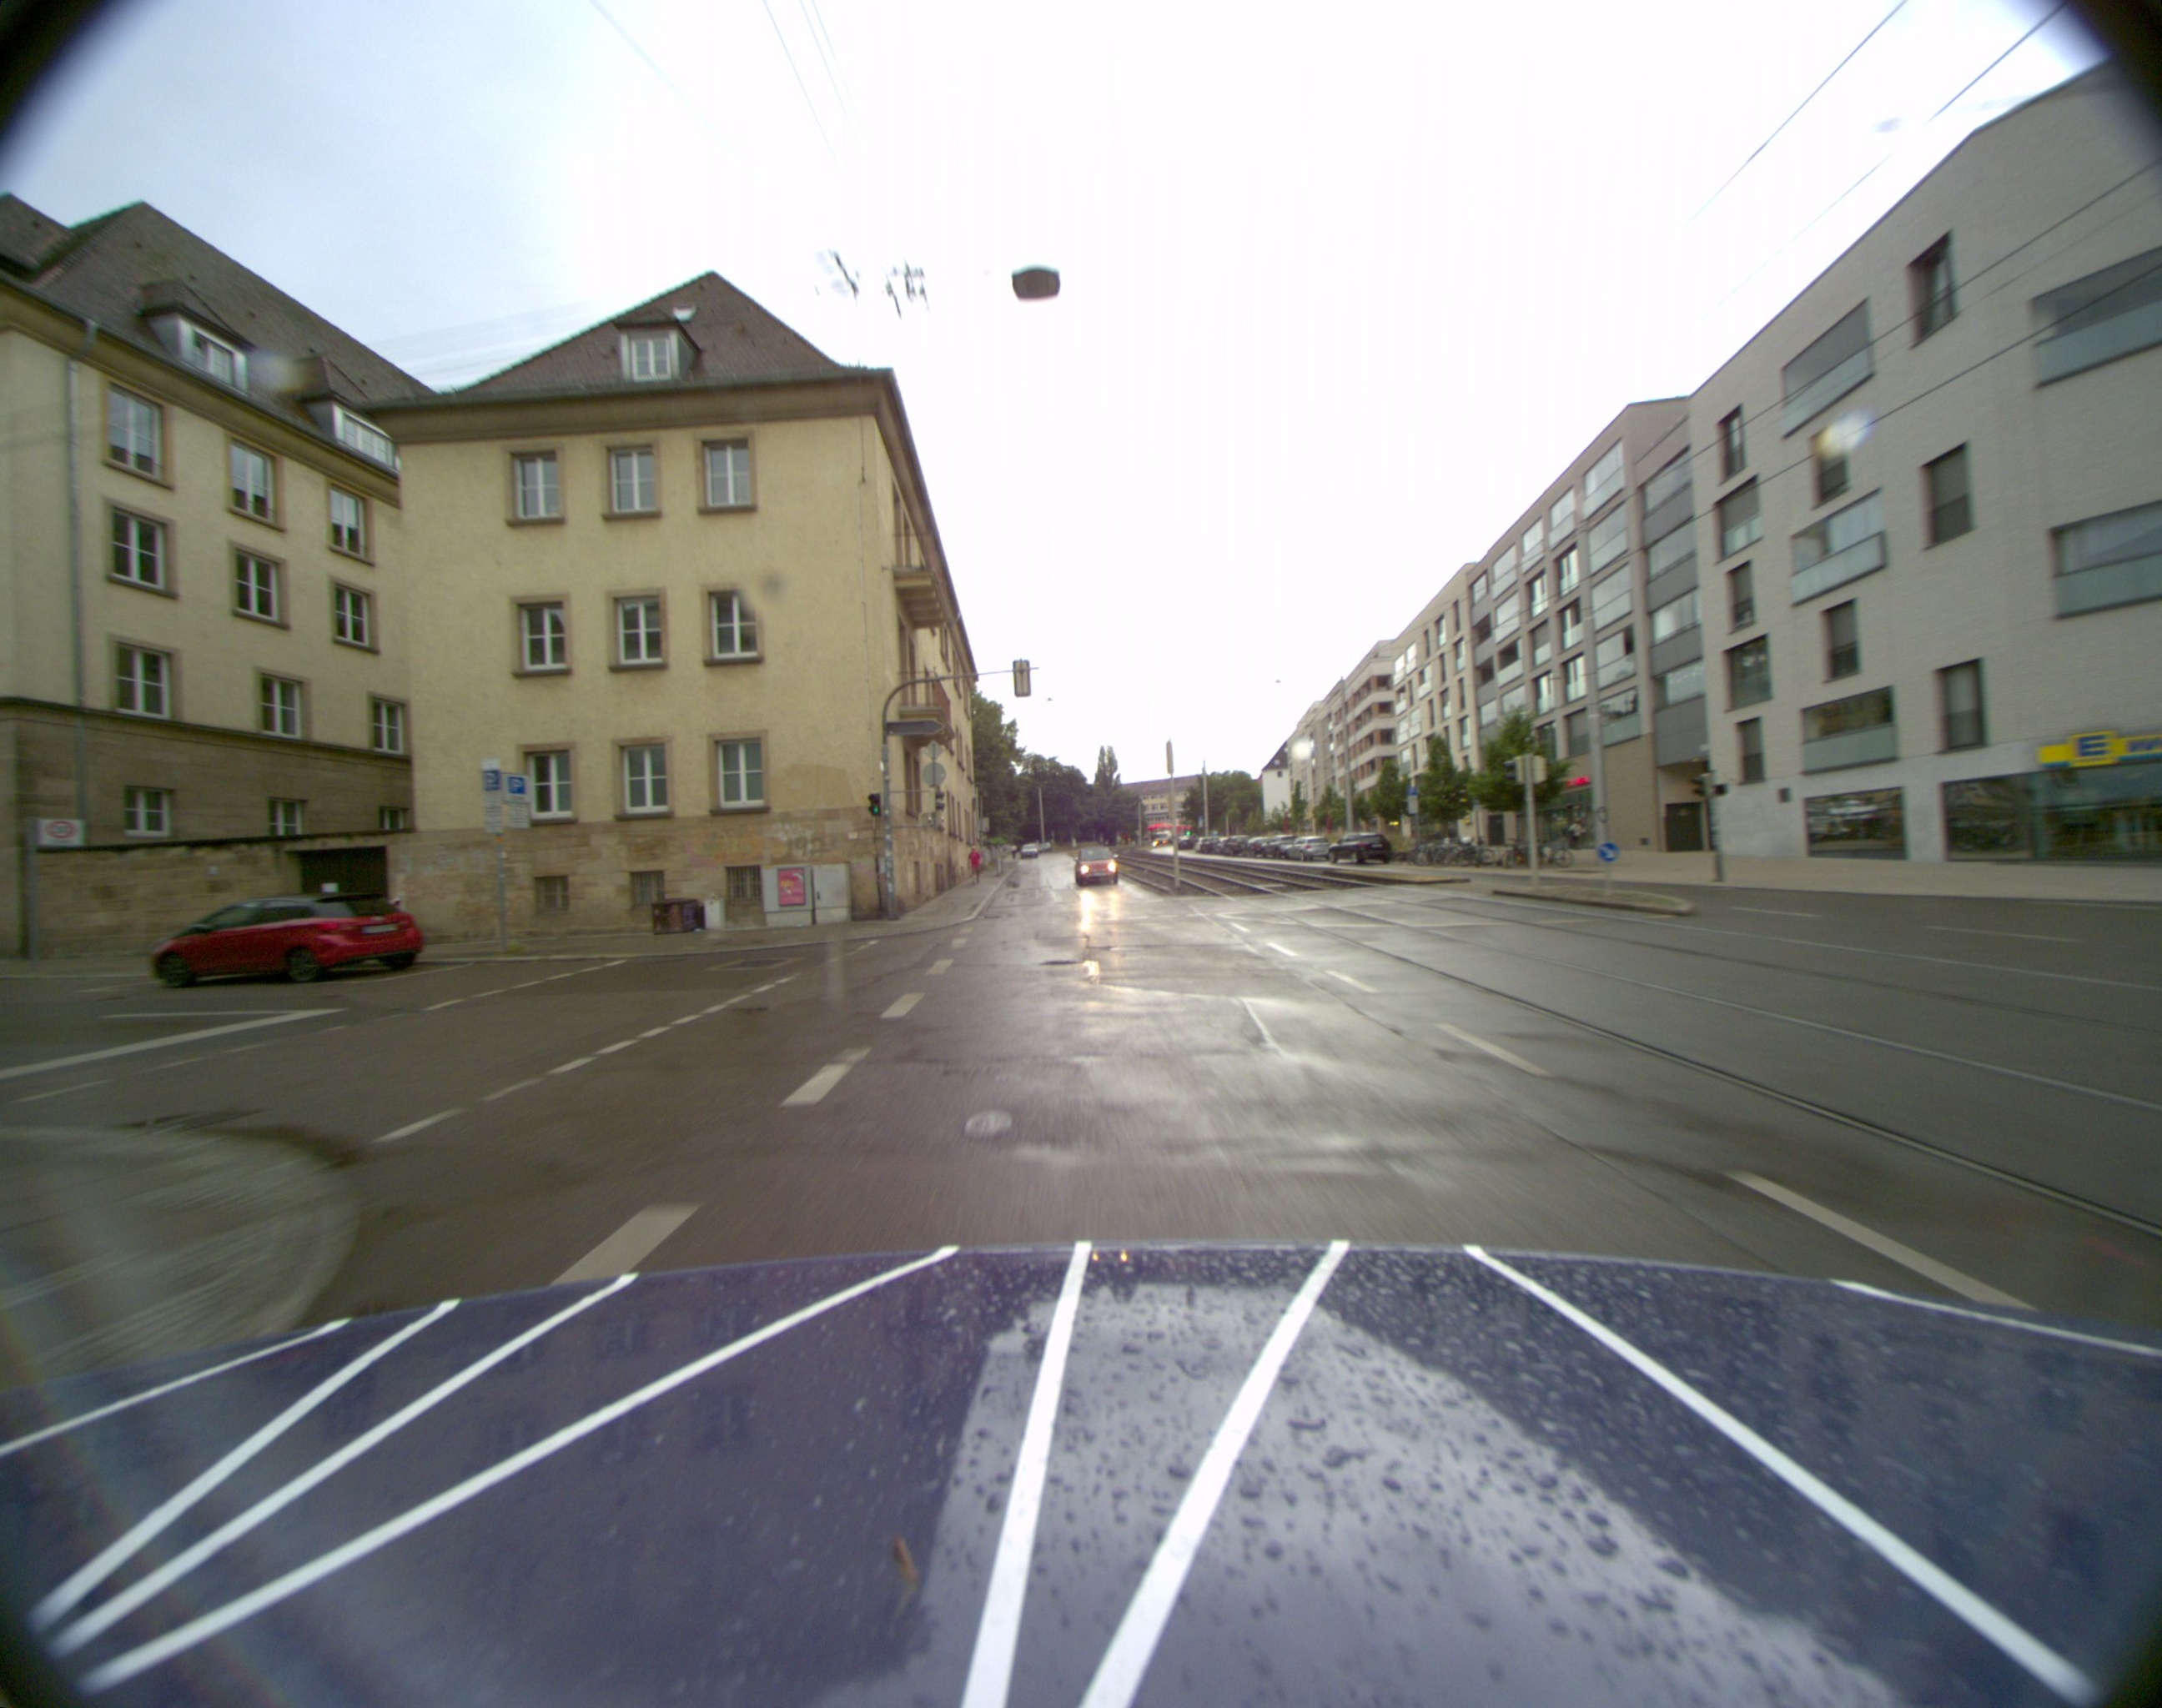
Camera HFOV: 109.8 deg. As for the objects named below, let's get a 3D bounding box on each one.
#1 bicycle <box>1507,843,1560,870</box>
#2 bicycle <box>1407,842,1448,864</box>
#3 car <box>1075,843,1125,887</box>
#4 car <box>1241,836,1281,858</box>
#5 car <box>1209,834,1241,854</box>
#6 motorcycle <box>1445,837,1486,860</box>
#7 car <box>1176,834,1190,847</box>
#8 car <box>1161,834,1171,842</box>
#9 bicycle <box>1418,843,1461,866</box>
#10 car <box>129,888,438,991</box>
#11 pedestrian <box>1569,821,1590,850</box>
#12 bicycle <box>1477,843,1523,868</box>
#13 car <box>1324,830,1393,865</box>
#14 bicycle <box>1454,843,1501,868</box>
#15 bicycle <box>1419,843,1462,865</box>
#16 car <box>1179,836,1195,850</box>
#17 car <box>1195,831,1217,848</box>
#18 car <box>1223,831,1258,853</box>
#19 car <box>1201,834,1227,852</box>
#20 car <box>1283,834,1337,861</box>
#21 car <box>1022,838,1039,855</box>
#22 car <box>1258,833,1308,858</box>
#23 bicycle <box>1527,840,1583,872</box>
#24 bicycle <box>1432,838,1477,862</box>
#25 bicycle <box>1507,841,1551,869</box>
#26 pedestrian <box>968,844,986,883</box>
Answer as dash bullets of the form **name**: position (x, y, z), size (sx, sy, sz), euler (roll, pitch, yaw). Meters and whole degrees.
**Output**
- **bicycle**: position (17.116, 0.075, 28.754), size (1.789, 0.871, 0.387), euler (-4, 3, -5)
- **bicycle**: position (16.219, -0.050, 35.586), size (1.789, 0.913, 0.387), euler (-4, 3, -7)
- **car**: position (0.709, 0.403, 31.324), size (1.594, 1.456, 3.667), euler (-6, 2, -4)
- **car**: position (13.193, -0.555, 55.855), size (1.685, 1.373, 4.030), euler (-4, 2, -4)
- **car**: position (12.477, -0.905, 65.908), size (1.685, 1.496, 3.925), euler (-4, 2, -4)
- **motorcycle**: position (18.468, -0.269, 36.497), size (1.764, 1.037, 0.542), euler (-3, 4, -7)
- **car**: position (13.729, -1.859, 102.673), size (1.654, 1.456, 3.670), euler (-5, 2, 5)
- **car**: position (19.445, -3.609, 173.925), size (1.666, 1.598, 3.809), euler (-5, 3, 12)
- **bicycle**: position (15.795, 0.012, 33.498), size (1.789, 0.913, 0.387), euler (-3, 3, -7)
- **car**: position (-13.962, 1.469, 13.421), size (3.856, 1.511, 1.766), euler (-1, 3, 9)
- **pedestrian**: position (25.887, -0.984, 39.446), size (0.540, 1.441, 0.803), euler (-5, 3, 9)
- **bicycle**: position (16.891, 0.041, 30.652), size (1.789, 0.912, 0.387), euler (-3, 2, -12)
- **car**: position (14.348, -0.374, 39.488), size (1.685, 1.595, 4.326), euler (-4, 2, -4)
- **bicycle**: position (16.431, 0.055, 31.486), size (1.789, 0.913, 0.387), euler (-4, 3, -7)
- **bicycle**: position (16.395, -0.004, 34.649), size (1.789, 0.913, 0.387), euler (-4, 3, -7)
- **car**: position (13.213, -1.433, 94.995), size (1.654, 1.456, 3.670), euler (-5, 2, 5)
- **car**: position (12.495, -1.431, 75.994), size (1.650, 1.496, 3.779), euler (-4, 2, 2)
- **car**: position (12.681, -0.951, 60.583), size (1.685, 1.555, 3.925), euler (-4, 2, -4)
- **car**: position (12.331, -1.050, 70.707), size (1.684, 1.496, 4.403), euler (-4, 2, 1)
- **car**: position (13.846, -0.437, 46.170), size (1.685, 1.456, 4.326), euler (-4, 2, -4)
- **car**: position (-5.690, -0.838, 86.207), size (1.726, 1.677, 3.863), euler (-6, 2, -4)
- **car**: position (13.545, -0.590, 51.121), size (1.685, 1.521, 4.045), euler (-5, 2, -8)
- **bicycle**: position (17.182, 0.063, 27.549), size (1.789, 0.975, 0.440), euler (-5, 3, -7)
- **bicycle**: position (16.057, -0.176, 32.694), size (1.789, 0.913, 0.387), euler (-4, 3, -7)
- **bicycle**: position (17.491, 0.033, 29.671), size (1.790, 0.913, 0.386), euler (-5, 3, -20)
- **pedestrian**: position (-4.720, 0.419, 34.572), size (0.749, 1.754, 0.818), euler (0, 2, -4)
